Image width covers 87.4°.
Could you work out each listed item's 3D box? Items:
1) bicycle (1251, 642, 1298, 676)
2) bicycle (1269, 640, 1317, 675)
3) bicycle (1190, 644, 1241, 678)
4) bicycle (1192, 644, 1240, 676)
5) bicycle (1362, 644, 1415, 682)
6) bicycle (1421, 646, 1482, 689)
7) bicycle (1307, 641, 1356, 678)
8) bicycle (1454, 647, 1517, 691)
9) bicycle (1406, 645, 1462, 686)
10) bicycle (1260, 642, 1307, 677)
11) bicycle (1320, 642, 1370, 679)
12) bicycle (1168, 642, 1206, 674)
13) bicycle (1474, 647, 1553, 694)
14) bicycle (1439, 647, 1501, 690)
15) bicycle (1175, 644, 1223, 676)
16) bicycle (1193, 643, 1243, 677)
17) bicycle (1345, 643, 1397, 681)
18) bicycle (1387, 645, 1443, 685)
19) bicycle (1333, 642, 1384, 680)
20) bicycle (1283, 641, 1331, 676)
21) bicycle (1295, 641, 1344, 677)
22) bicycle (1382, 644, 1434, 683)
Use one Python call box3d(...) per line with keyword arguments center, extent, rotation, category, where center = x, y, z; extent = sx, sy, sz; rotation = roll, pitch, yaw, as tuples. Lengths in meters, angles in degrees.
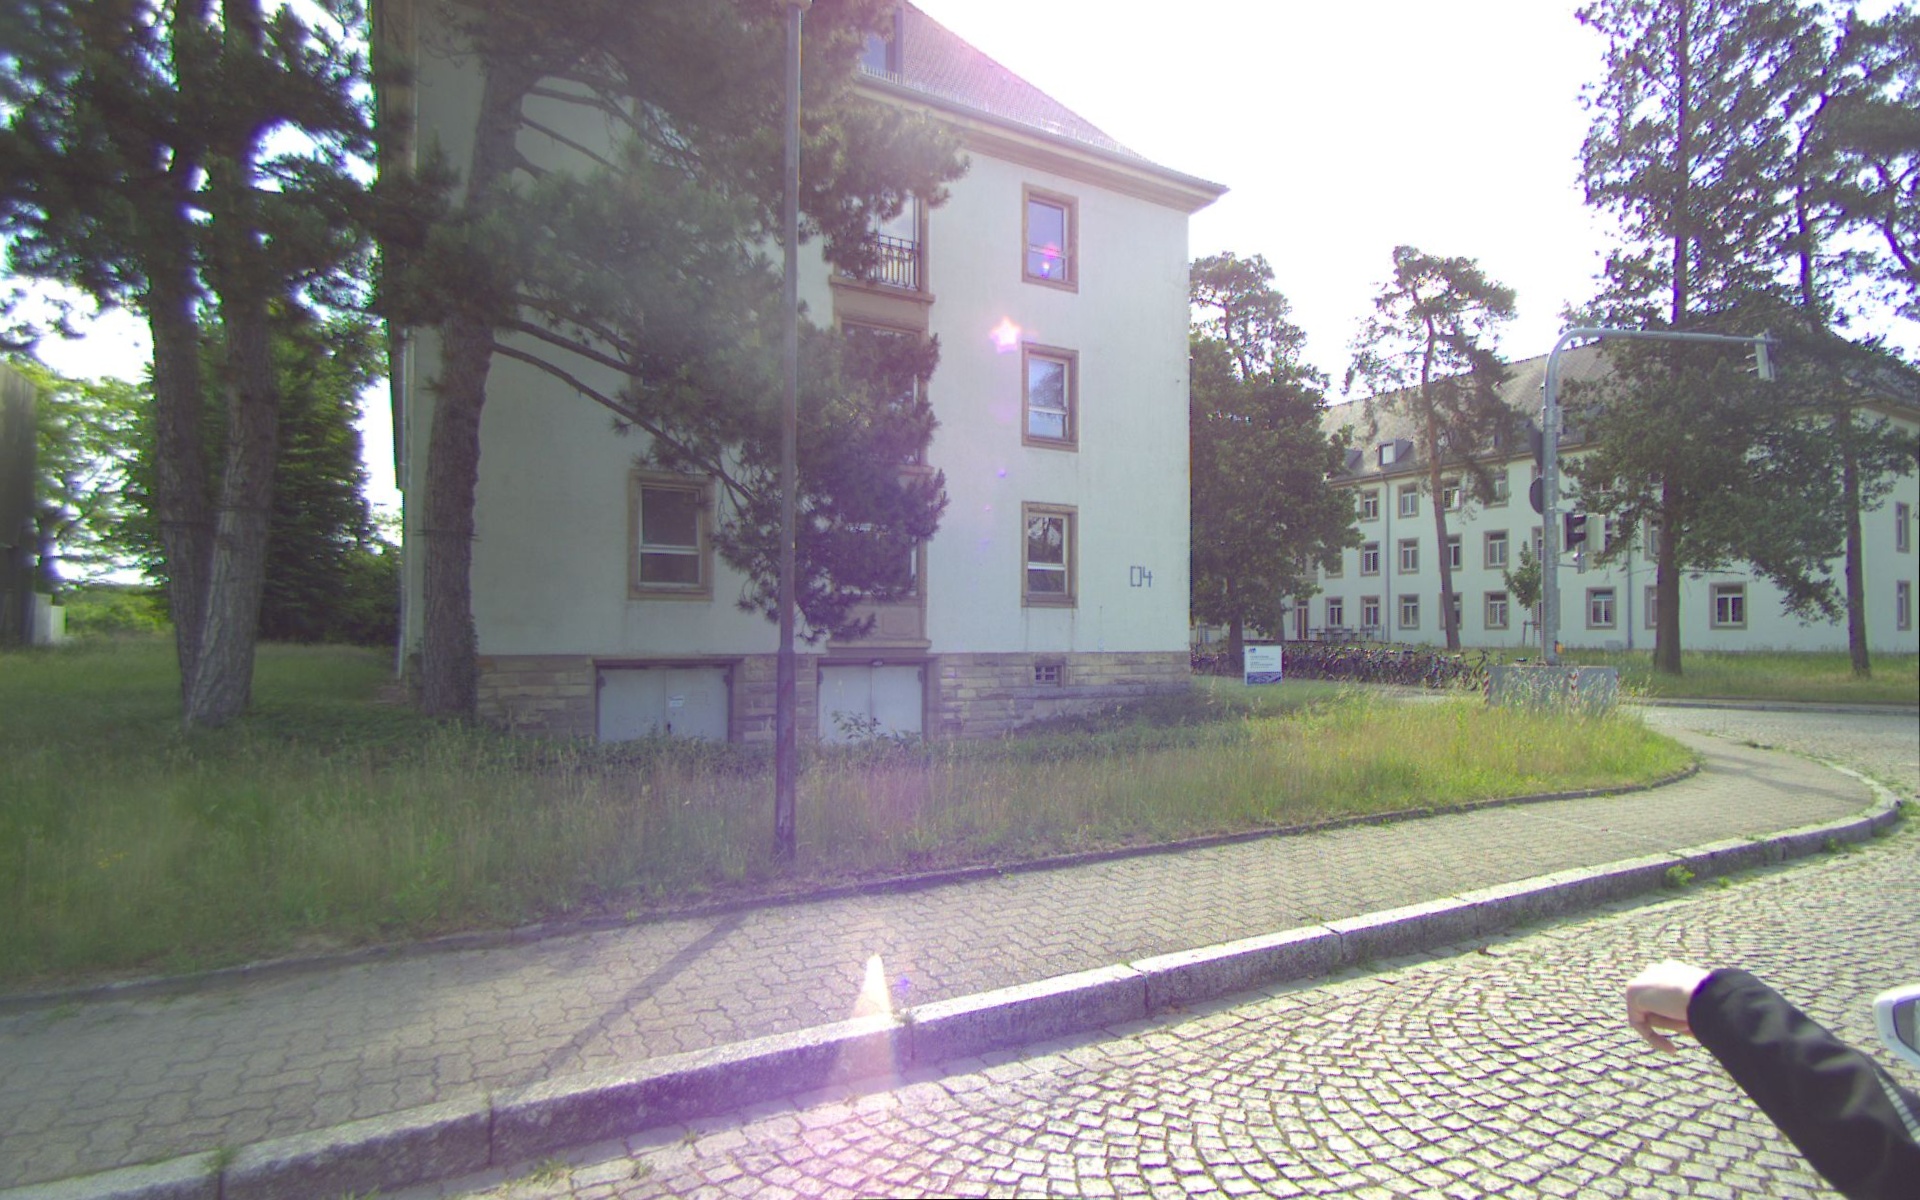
box3d(center=(11.653, 2.175, 37.201), extent=(1.915, 1.236, 0.512), rotation=(1, -2, -31), category="bicycle")
box3d(center=(12.087, 2.075, 36.423), extent=(1.915, 1.236, 0.512), rotation=(1, -2, -31), category="bicycle")
box3d(center=(9.566, 2.268, 37.577), extent=(1.794, 1.236, 0.515), rotation=(-1, -2, 25), category="bicycle")
box3d(center=(10.104, 2.348, 39.644), extent=(1.792, 1.236, 0.516), rotation=(0, -2, 7), category="bicycle")
box3d(center=(14.077, 2.050, 32.965), extent=(1.992, 1.236, 0.512), rotation=(1, -2, -31), category="bicycle")
box3d(center=(14.827, 2.013, 30.288), extent=(2.080, 1.236, 0.630), rotation=(1, -2, -31), category="bicycle")
box3d(center=(12.917, 2.060, 34.884), extent=(1.915, 1.236, 0.512), rotation=(1, -2, -31), category="bicycle")
box3d(center=(15.360, 2.003, 29.342), extent=(2.089, 1.236, 0.630), rotation=(1, -2, -31), category="bicycle")
box3d(center=(14.737, 2.028, 31.228), extent=(1.966, 1.236, 0.569), rotation=(1, -2, -31), category="bicycle")
box3d(center=(11.863, 2.171, 36.827), extent=(1.915, 1.236, 0.512), rotation=(1, -2, -31), category="bicycle")
box3d(center=(13.179, 2.055, 34.395), extent=(1.931, 1.236, 0.512), rotation=(1, -2, -31), category="bicycle")
box3d(center=(9.199, 2.342, 40.680), extent=(1.814, 1.236, 0.510), rotation=(2, -2, -41), category="bicycle")
box3d(center=(15.329, 1.931, 27.864), extent=(0.627, 1.236, 1.853), rotation=(1, -2, -29), category="bicycle")
box3d(center=(15.117, 2.008, 29.758), extent=(2.099, 1.236, 0.630), rotation=(1, -2, -31), category="bicycle")
box3d(center=(9.308, 2.326, 39.178), extent=(1.792, 1.236, 0.516), rotation=(0, -2, 7), category="bicycle")
box3d(center=(9.804, 2.275, 38.181), extent=(1.794, 1.236, 0.515), rotation=(-1, -2, 25), category="bicycle")
box3d(center=(13.721, 2.054, 33.506), extent=(1.954, 1.236, 0.512), rotation=(1, -2, -31), category="bicycle")
box3d(center=(14.482, 2.039, 31.945), extent=(2.005, 1.236, 0.576), rotation=(1, -2, -31), category="bicycle")
box3d(center=(13.463, 2.054, 33.954), extent=(1.954, 1.236, 0.512), rotation=(1, -2, -31), category="bicycle")
box3d(center=(12.395, 2.070, 35.897), extent=(1.915, 1.236, 0.512), rotation=(1, -2, -31), category="bicycle")
box3d(center=(12.669, 2.065, 35.371), extent=(1.915, 1.236, 0.512), rotation=(1, -2, -31), category="bicycle")
box3d(center=(14.562, 2.051, 32.657), extent=(1.877, 1.236, 0.545), rotation=(1, -2, -31), category="bicycle")
